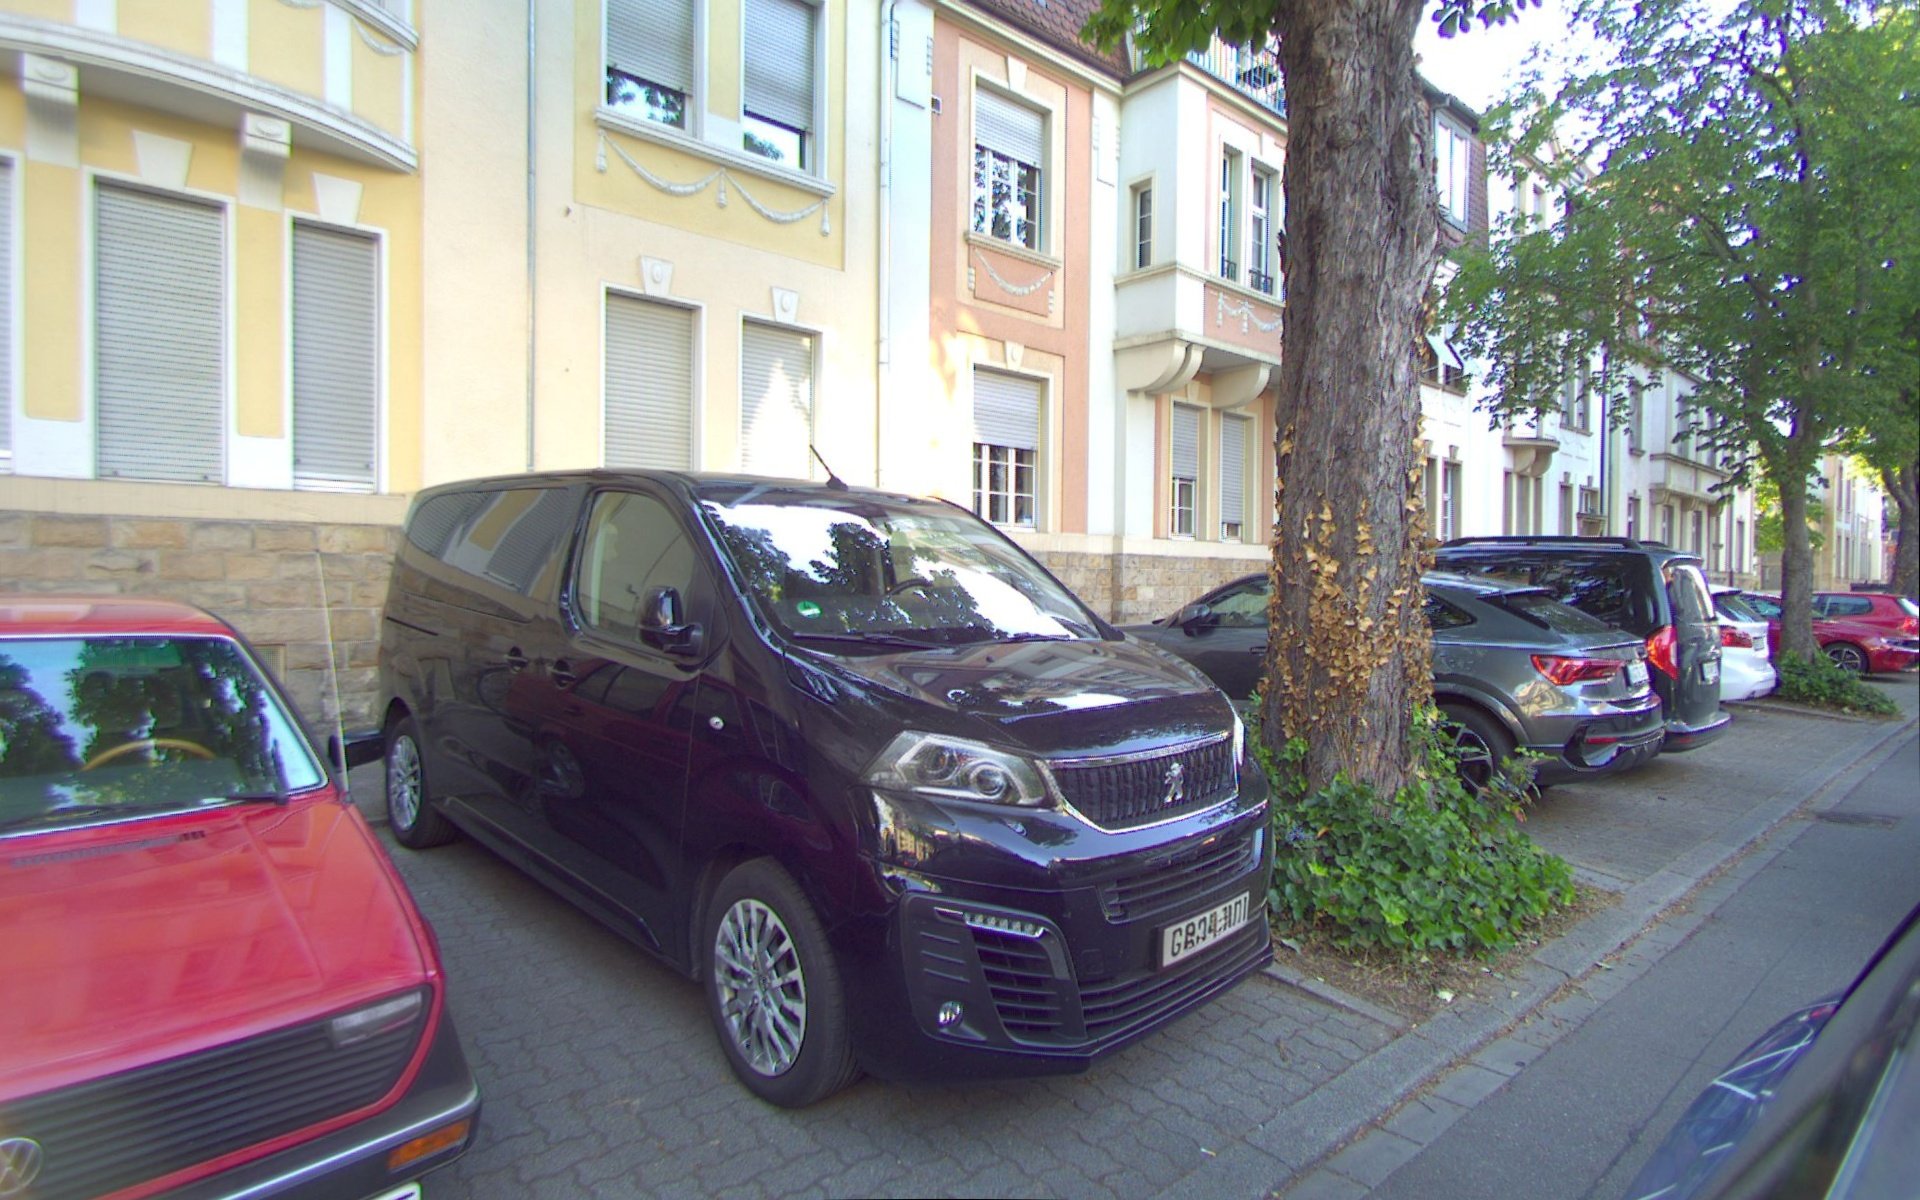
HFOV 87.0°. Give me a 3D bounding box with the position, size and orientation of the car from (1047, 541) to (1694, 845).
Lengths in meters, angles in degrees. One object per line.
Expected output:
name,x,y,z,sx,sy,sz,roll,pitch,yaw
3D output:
car,2.756,0.407,7.550,1.569,1.611,4.165,-1,4,-44

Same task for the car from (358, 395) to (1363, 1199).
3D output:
car,-0.987,0.346,4.528,1.851,1.846,4.825,-1,4,-44

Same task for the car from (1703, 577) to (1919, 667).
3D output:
car,16.868,0.372,19.666,1.511,1.482,3.621,0,3,-40

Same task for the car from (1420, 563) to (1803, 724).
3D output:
car,7.748,0.398,12.261,1.513,1.569,3.616,-1,3,-45

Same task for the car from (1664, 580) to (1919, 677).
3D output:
car,14.932,0.427,18.034,1.511,1.420,3.621,0,3,-40

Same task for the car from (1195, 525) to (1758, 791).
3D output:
car,4.350,0.278,9.051,1.569,1.849,4.165,-1,4,-44

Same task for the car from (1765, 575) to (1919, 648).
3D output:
car,21.627,0.243,24.089,1.511,1.584,3.621,0,2,-40

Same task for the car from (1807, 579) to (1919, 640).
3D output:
car,25.928,0.256,27.974,1.511,1.584,3.621,0,2,-40

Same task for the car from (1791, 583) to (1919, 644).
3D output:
car,23.981,0.337,26.155,1.511,1.420,3.621,0,3,-40

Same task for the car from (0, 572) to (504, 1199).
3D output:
car,-2.807,0.652,2.974,1.532,1.336,3.917,-1,4,-43
